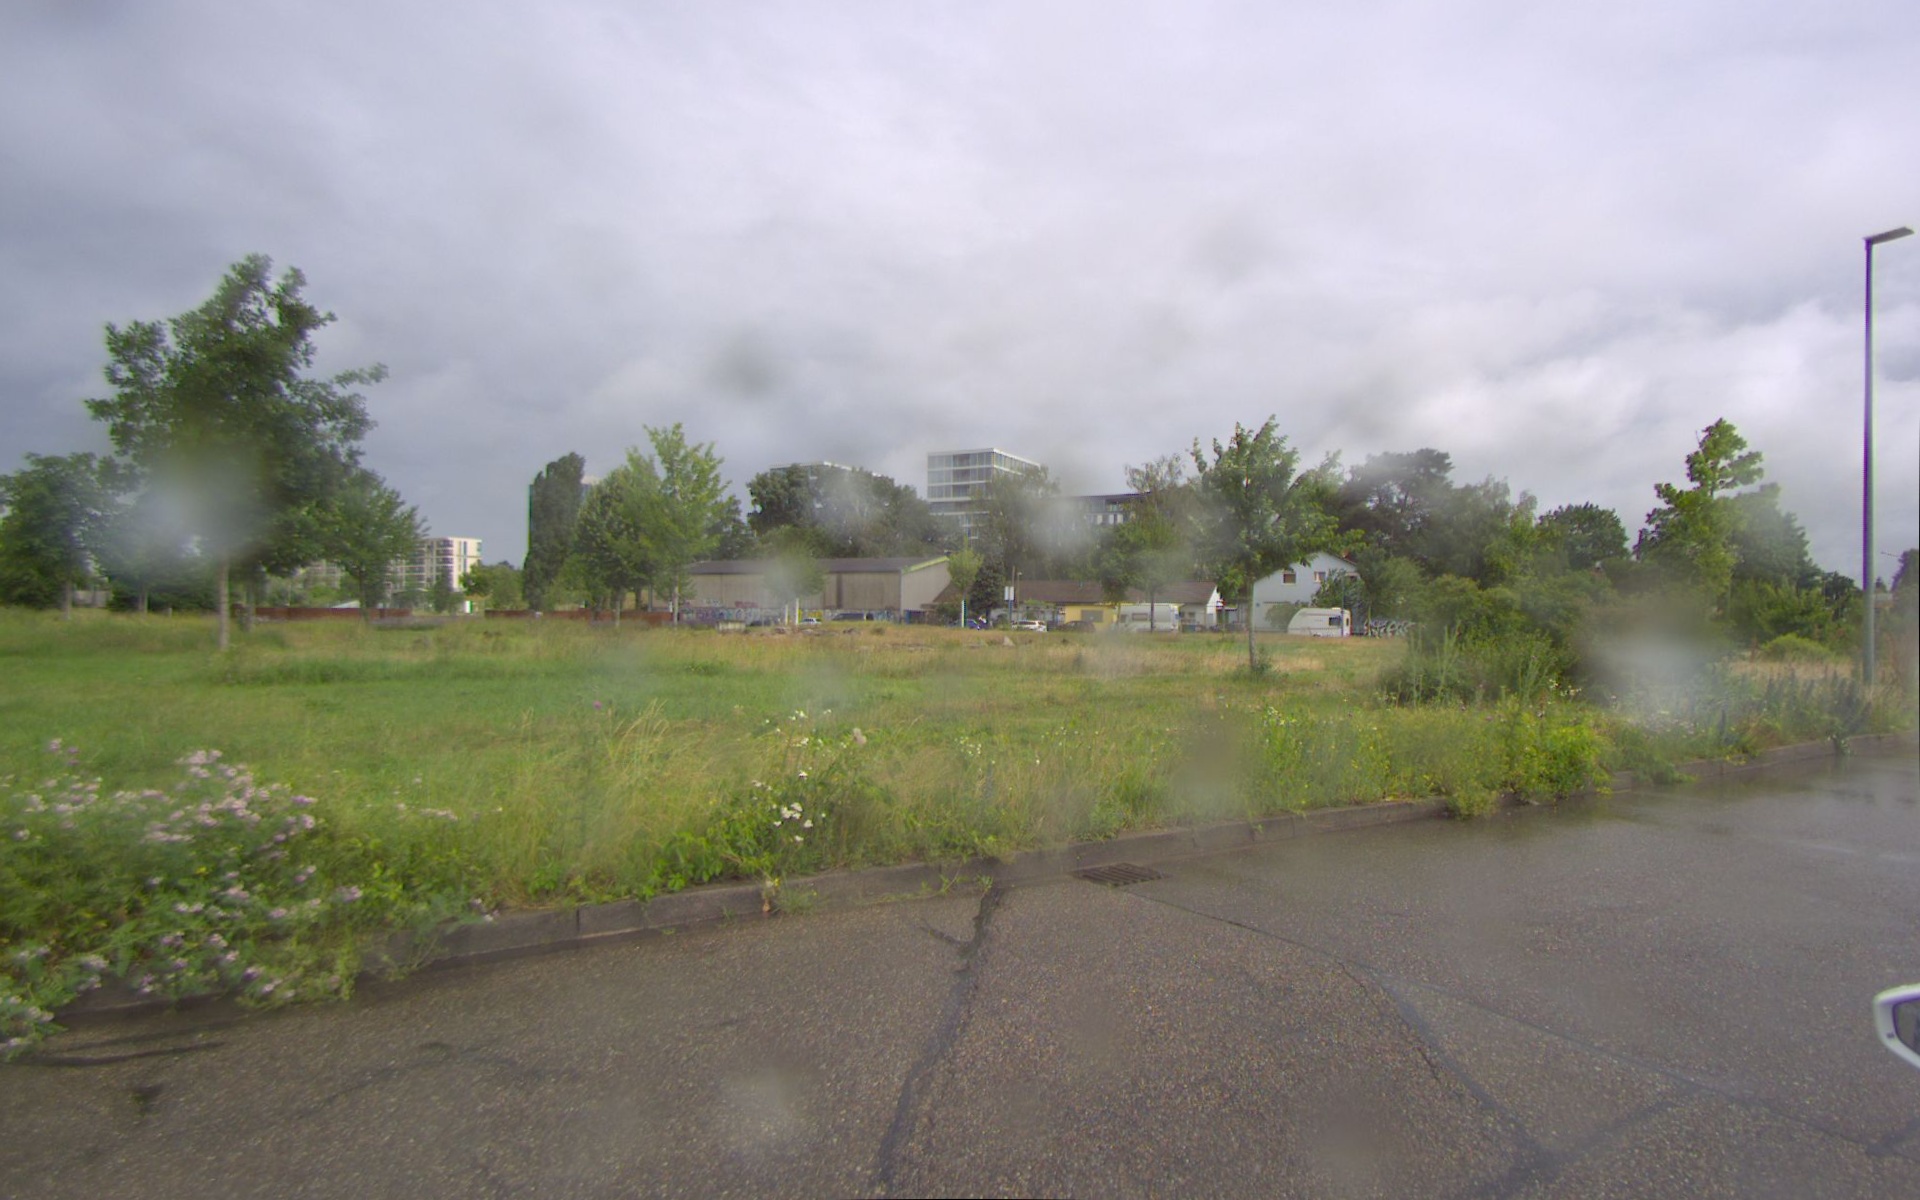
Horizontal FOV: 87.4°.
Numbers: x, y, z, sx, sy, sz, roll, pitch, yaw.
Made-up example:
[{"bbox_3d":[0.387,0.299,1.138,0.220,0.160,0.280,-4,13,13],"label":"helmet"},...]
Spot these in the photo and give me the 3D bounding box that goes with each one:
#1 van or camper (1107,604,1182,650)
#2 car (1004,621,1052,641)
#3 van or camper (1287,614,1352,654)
[{"bbox_3d":[15.765,2.241,85.743,5.748,3.794,2.648,0,-1,31],"label":"van or camper"},{"bbox_3d":[6.117,2.811,91.032,3.929,1.726,1.878,0,-1,31],"label":"car"},{"bbox_3d":[28.129,2.635,78.627,4.436,2.985,2.478,0,-1,31],"label":"van or camper"}]
